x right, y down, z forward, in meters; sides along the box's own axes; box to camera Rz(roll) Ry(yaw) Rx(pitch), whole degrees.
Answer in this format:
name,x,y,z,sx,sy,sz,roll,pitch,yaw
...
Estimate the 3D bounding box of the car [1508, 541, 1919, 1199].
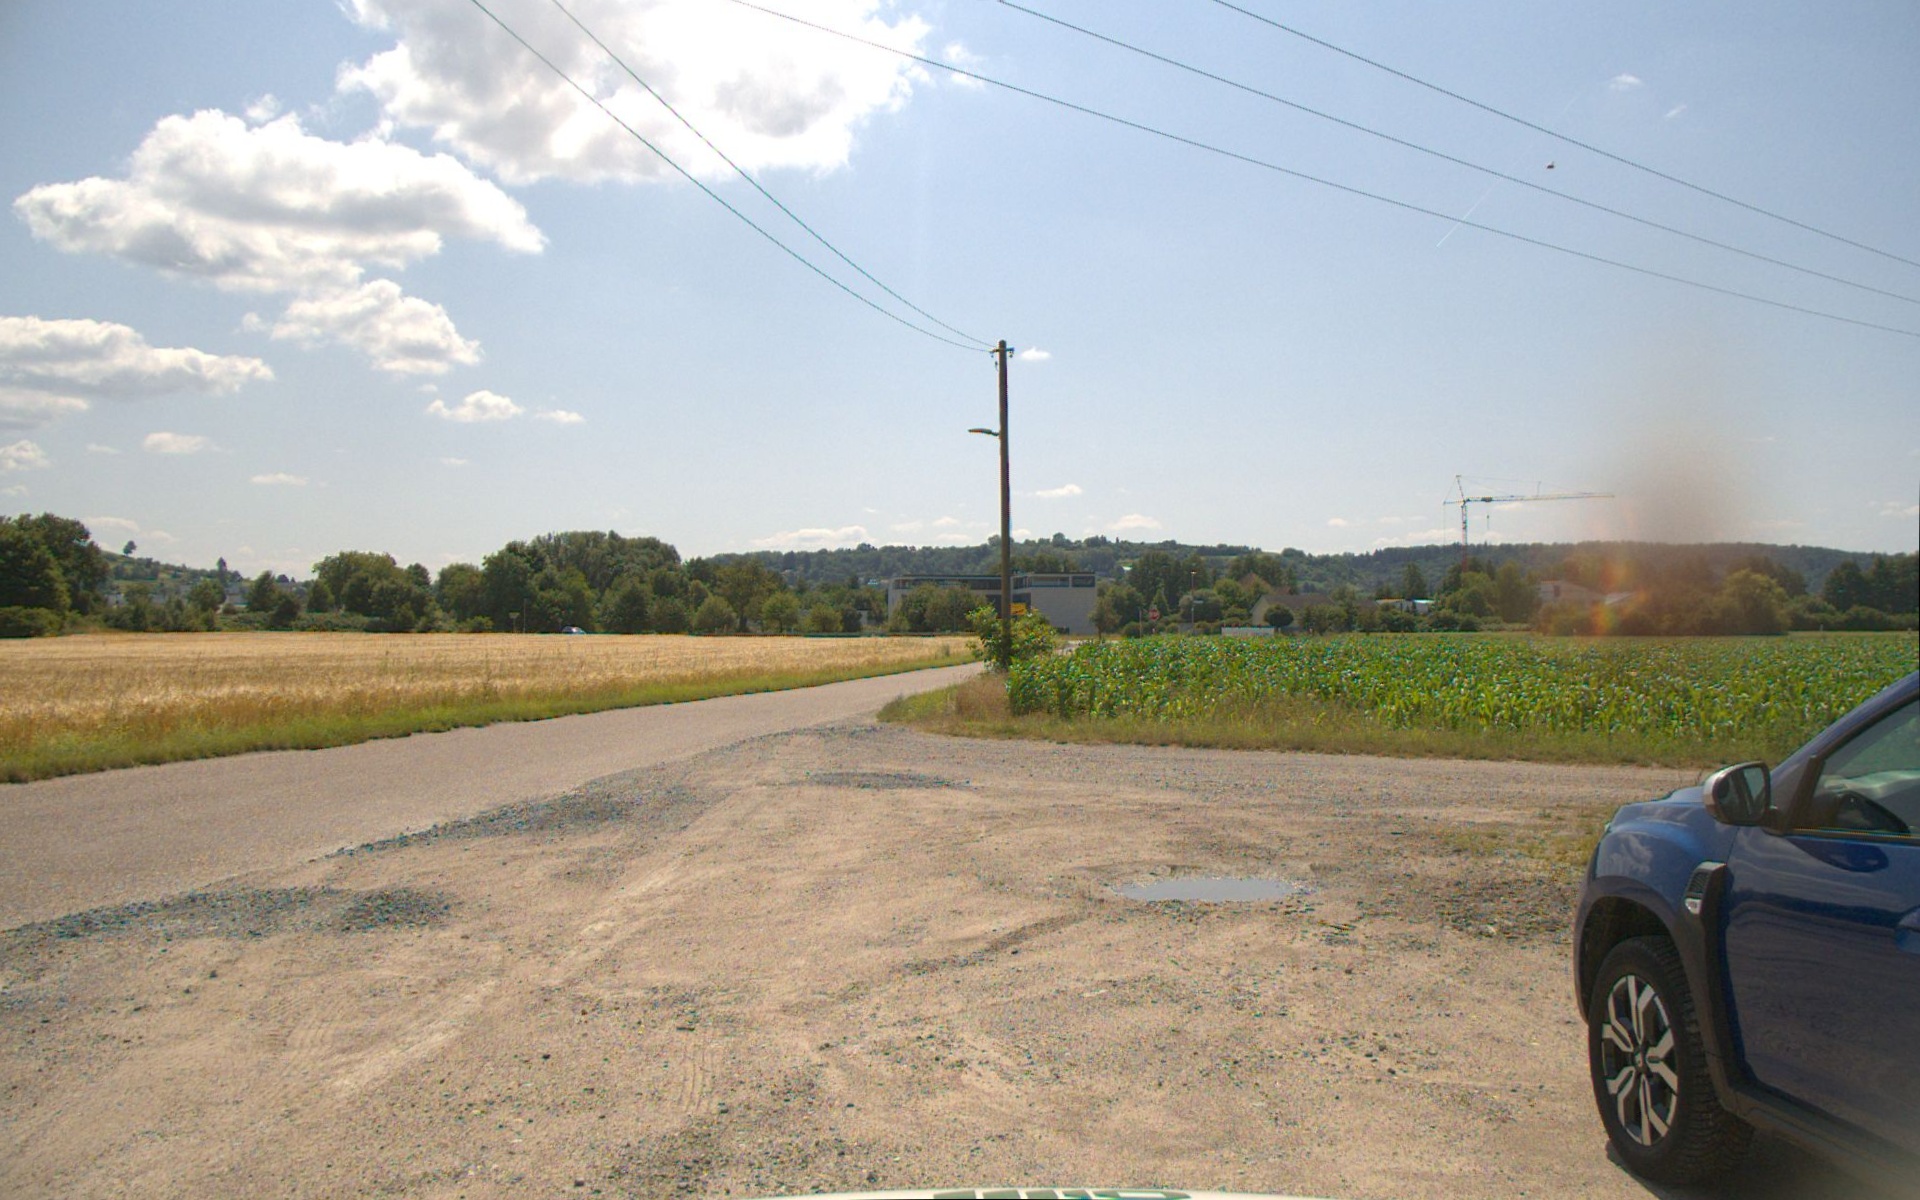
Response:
name,x,y,z,sx,sy,sz,roll,pitch,yaw
car,2.914,0.733,3.515,1.821,1.690,4.455,1,-2,-3
